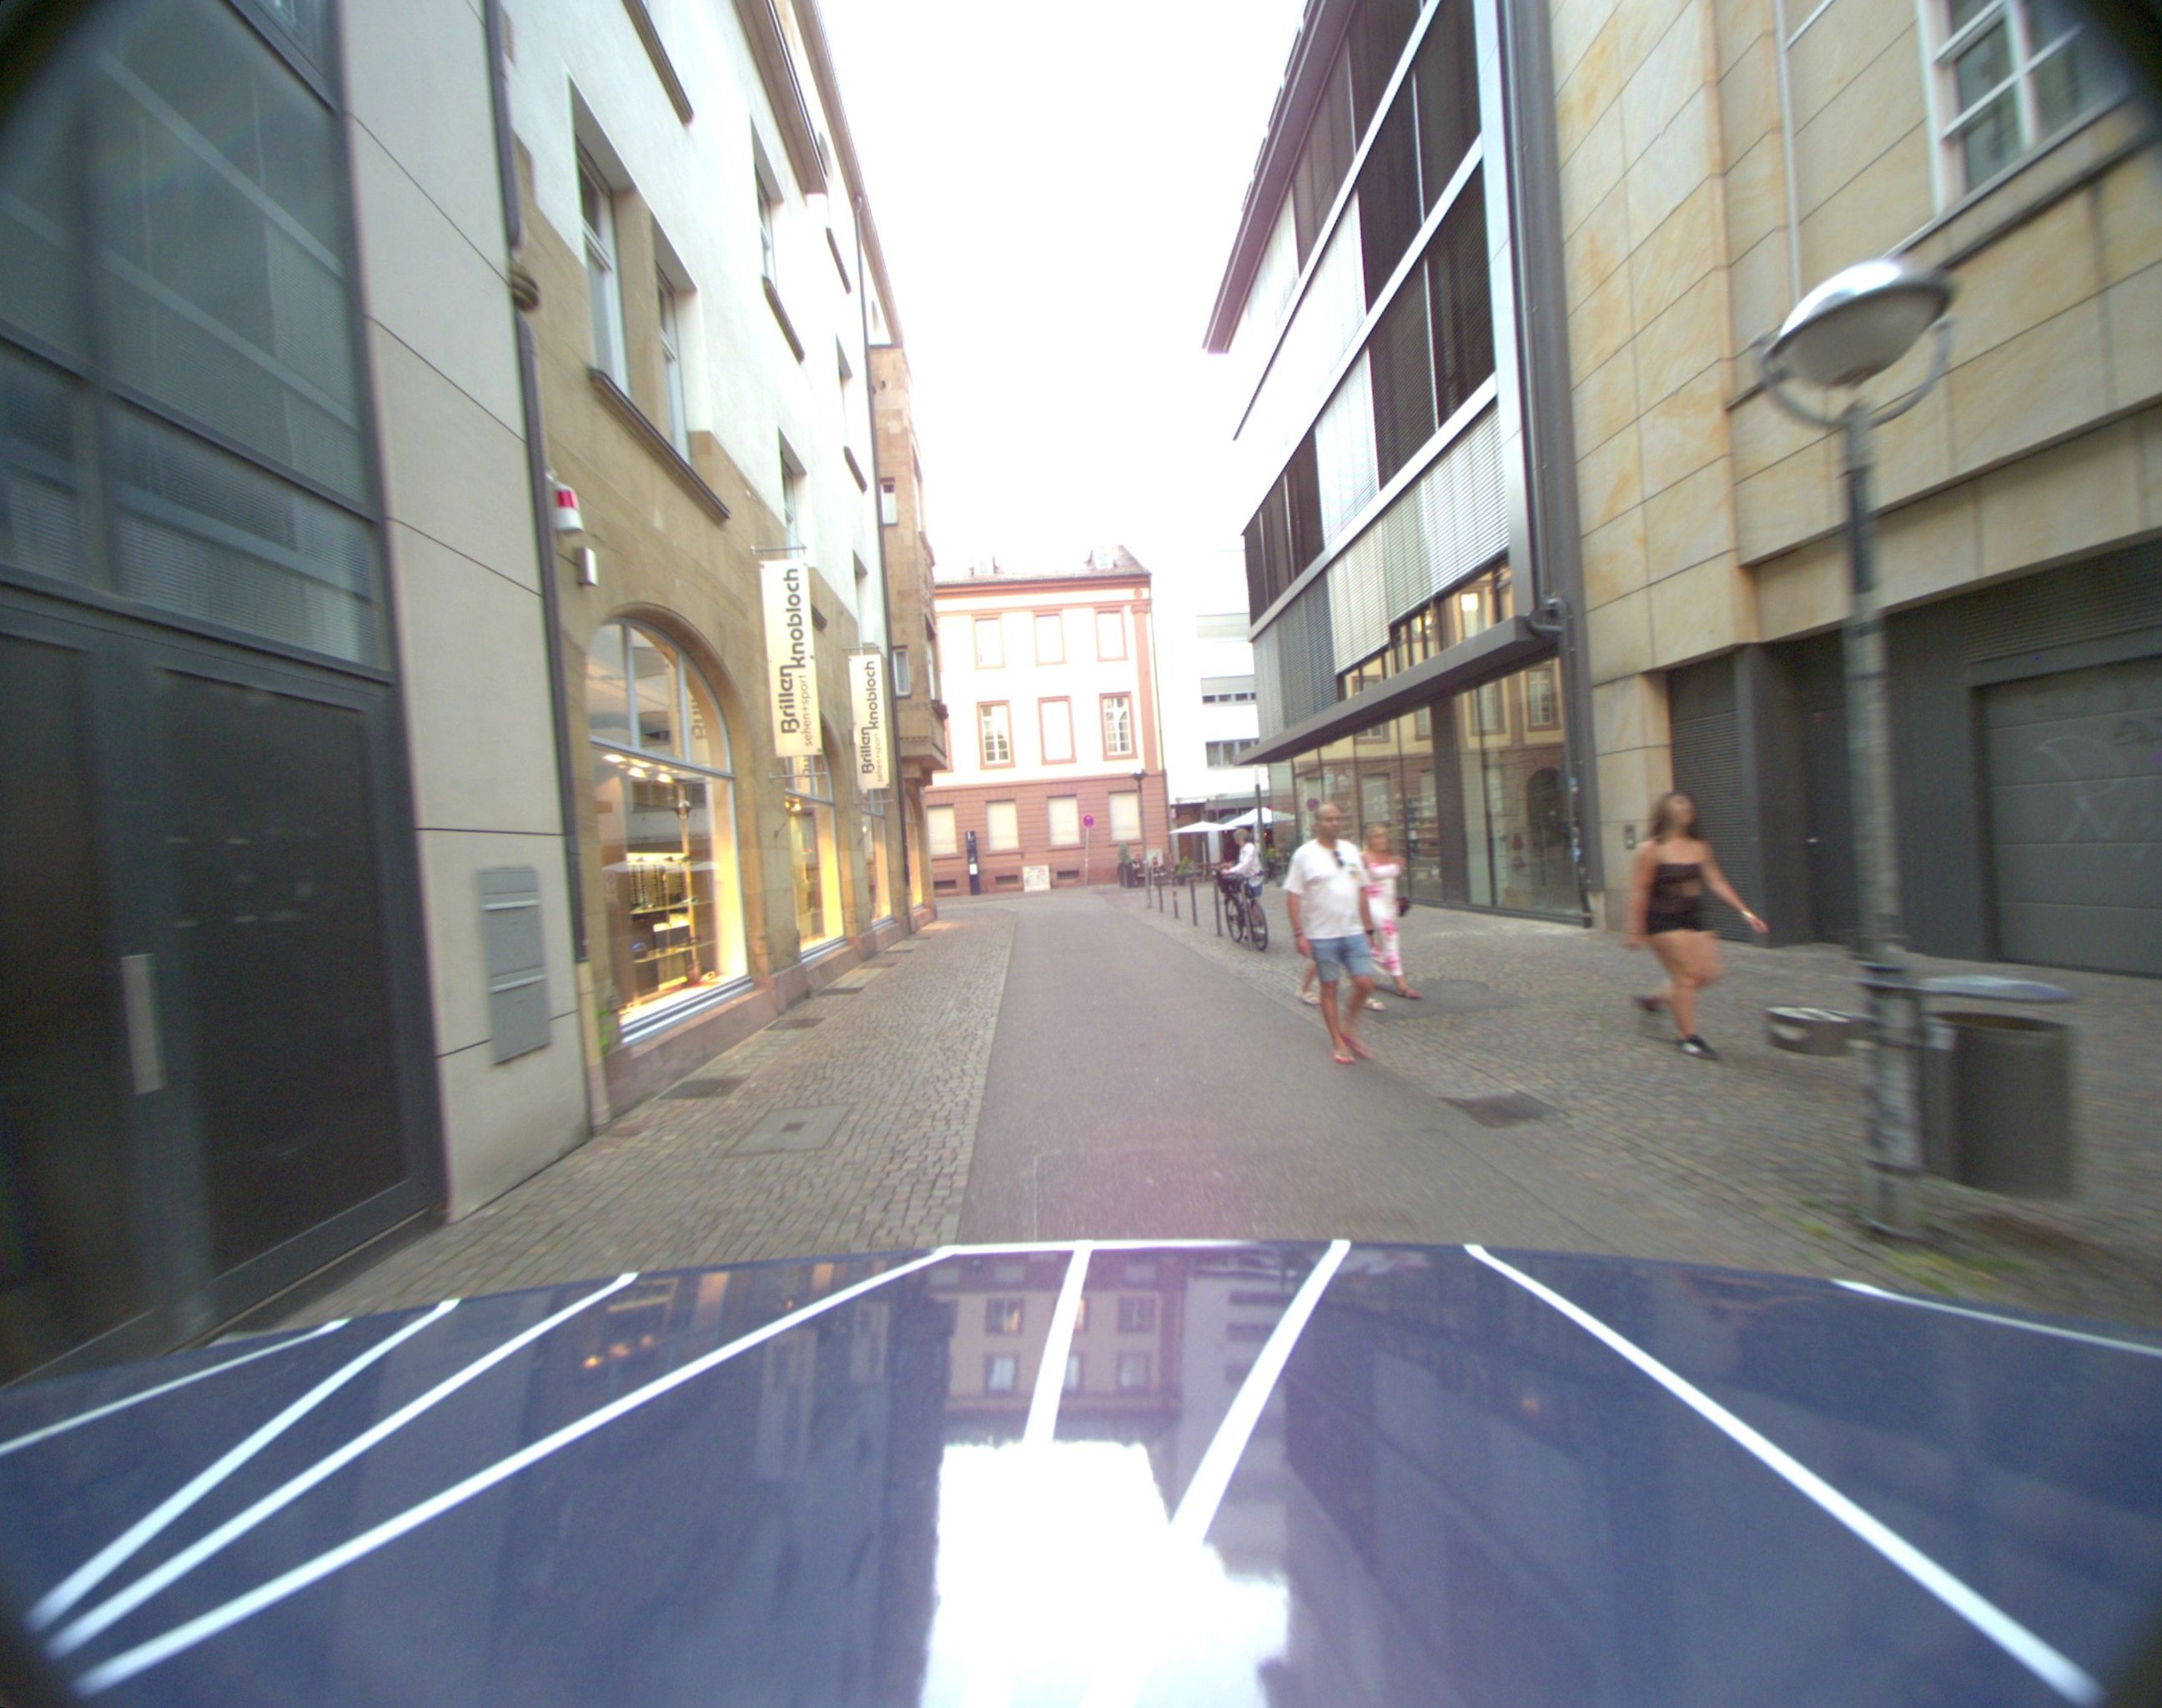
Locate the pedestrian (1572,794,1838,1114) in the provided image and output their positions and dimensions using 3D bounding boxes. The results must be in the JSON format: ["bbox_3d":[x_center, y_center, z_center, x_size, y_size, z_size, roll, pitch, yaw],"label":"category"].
[{"bbox_3d":[3.921,0.568,4.857,0.787,1.785,0.971,-4,1,-11],"label":"pedestrian"}]

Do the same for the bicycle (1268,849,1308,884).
[{"bbox_3d":[7.012,0.422,25.791,0.709,1.106,1.673,-4,-1,-4],"label":"bicycle"}]

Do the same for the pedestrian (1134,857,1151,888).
[{"bbox_3d":[2.470,0.741,30.642,0.562,1.204,0.461,-4,1,-1],"label":"pedestrian"}]

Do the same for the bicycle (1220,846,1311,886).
[{"bbox_3d":[6.958,0.442,28.765,3.156,1.253,0.923,-4,0,-4],"label":"bicycle"}]

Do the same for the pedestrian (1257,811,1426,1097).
[{"bbox_3d":[1.794,0.645,5.366,0.744,1.812,0.878,-4,1,-5],"label":"pedestrian"}]

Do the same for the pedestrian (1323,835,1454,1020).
[{"bbox_3d":[3.004,0.680,7.468,0.677,1.655,0.859,-5,1,-25],"label":"pedestrian"}]

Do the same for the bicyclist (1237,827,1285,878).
[{"bbox_3d":[6.809,-0.058,28.752,1.469,1.807,0.923,-4,0,-4],"label":"bicyclist"}]

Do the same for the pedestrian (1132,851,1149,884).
[{"bbox_3d":[2.522,0.558,32.200,0.549,1.341,0.489,-4,1,-1],"label":"pedestrian"}]

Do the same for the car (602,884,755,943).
[{"bbox_3d":[-13.187,1.941,25.066,3.997,1.435,1.649,-4,3,-2],"label":"car"}]

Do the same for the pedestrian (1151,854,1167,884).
[{"bbox_3d":[3.273,0.613,31.908,0.549,1.204,0.524,-4,1,-1],"label":"pedestrian"}]

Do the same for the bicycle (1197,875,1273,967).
[{"bbox_3d":[2.239,0.939,11.263,0.534,1.147,1.914,-6,1,-3],"label":"bicycle"}]

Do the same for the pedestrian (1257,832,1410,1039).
[{"bbox_3d":[2.324,0.699,7.054,0.810,1.719,0.946,-5,1,-32],"label":"pedestrian"}]

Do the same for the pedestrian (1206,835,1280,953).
[{"bbox_3d":[2.505,0.609,11.741,0.771,1.708,0.590,-6,1,-34],"label":"pedestrian"}]
